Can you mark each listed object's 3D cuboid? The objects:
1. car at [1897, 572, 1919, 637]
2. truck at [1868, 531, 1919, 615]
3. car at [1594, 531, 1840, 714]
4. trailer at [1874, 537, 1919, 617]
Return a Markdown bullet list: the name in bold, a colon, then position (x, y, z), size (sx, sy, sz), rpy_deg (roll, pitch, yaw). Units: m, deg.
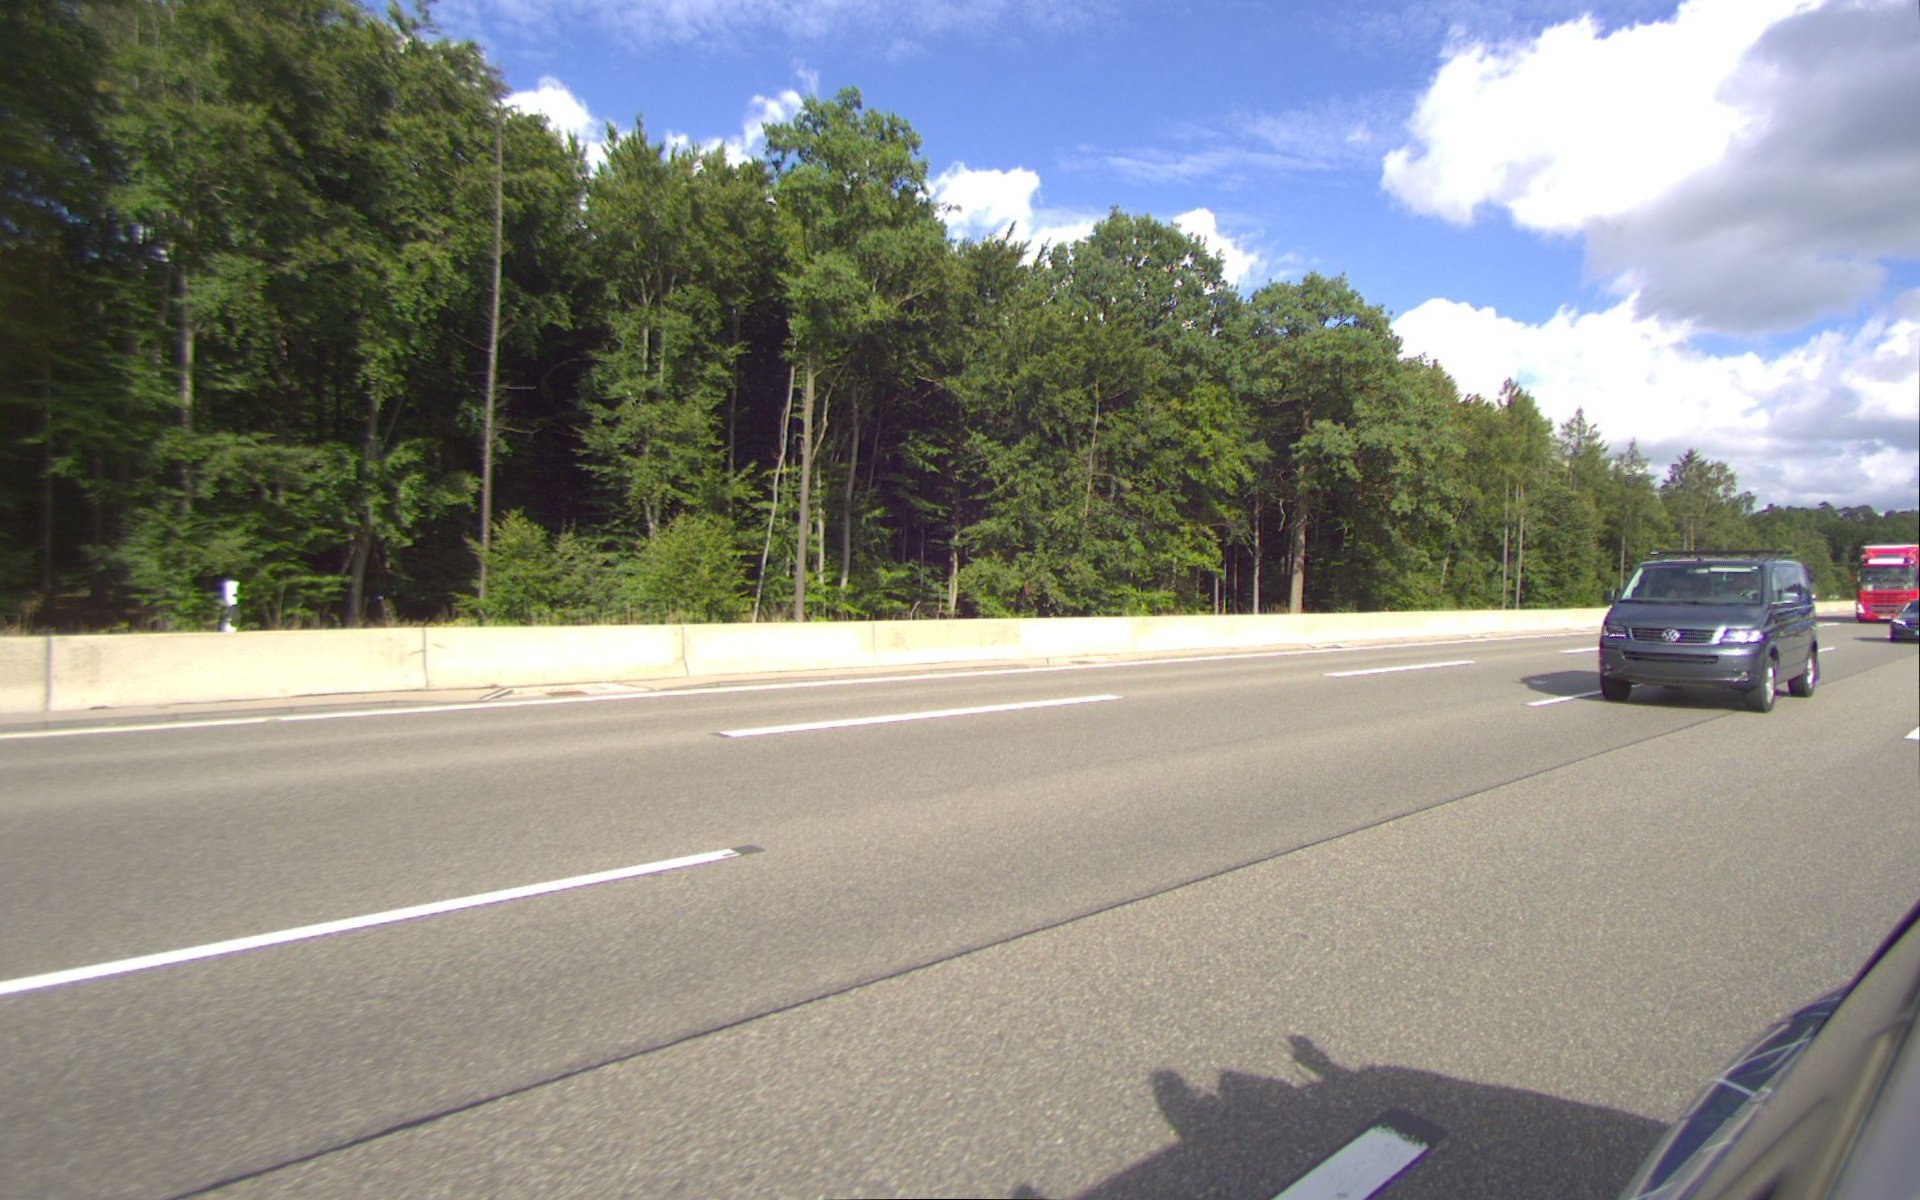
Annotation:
- **car**: position (31.709, 0.144, 32.452), size (3.929, 2.039, 1.997), rpy_deg (0, 0, -40)
- **truck**: position (49.918, -1.409, 53.358), size (4.573, 4.254, 2.530), rpy_deg (-1, 2, -41)
- **car**: position (10.971, 0.221, 14.521), size (4.876, 2.192, 1.925), rpy_deg (-1, 2, -42)
- **trailer**: position (54.967, -1.348, 57.776), size (14.129, 4.171, 2.529), rpy_deg (-2, 2, -41)
